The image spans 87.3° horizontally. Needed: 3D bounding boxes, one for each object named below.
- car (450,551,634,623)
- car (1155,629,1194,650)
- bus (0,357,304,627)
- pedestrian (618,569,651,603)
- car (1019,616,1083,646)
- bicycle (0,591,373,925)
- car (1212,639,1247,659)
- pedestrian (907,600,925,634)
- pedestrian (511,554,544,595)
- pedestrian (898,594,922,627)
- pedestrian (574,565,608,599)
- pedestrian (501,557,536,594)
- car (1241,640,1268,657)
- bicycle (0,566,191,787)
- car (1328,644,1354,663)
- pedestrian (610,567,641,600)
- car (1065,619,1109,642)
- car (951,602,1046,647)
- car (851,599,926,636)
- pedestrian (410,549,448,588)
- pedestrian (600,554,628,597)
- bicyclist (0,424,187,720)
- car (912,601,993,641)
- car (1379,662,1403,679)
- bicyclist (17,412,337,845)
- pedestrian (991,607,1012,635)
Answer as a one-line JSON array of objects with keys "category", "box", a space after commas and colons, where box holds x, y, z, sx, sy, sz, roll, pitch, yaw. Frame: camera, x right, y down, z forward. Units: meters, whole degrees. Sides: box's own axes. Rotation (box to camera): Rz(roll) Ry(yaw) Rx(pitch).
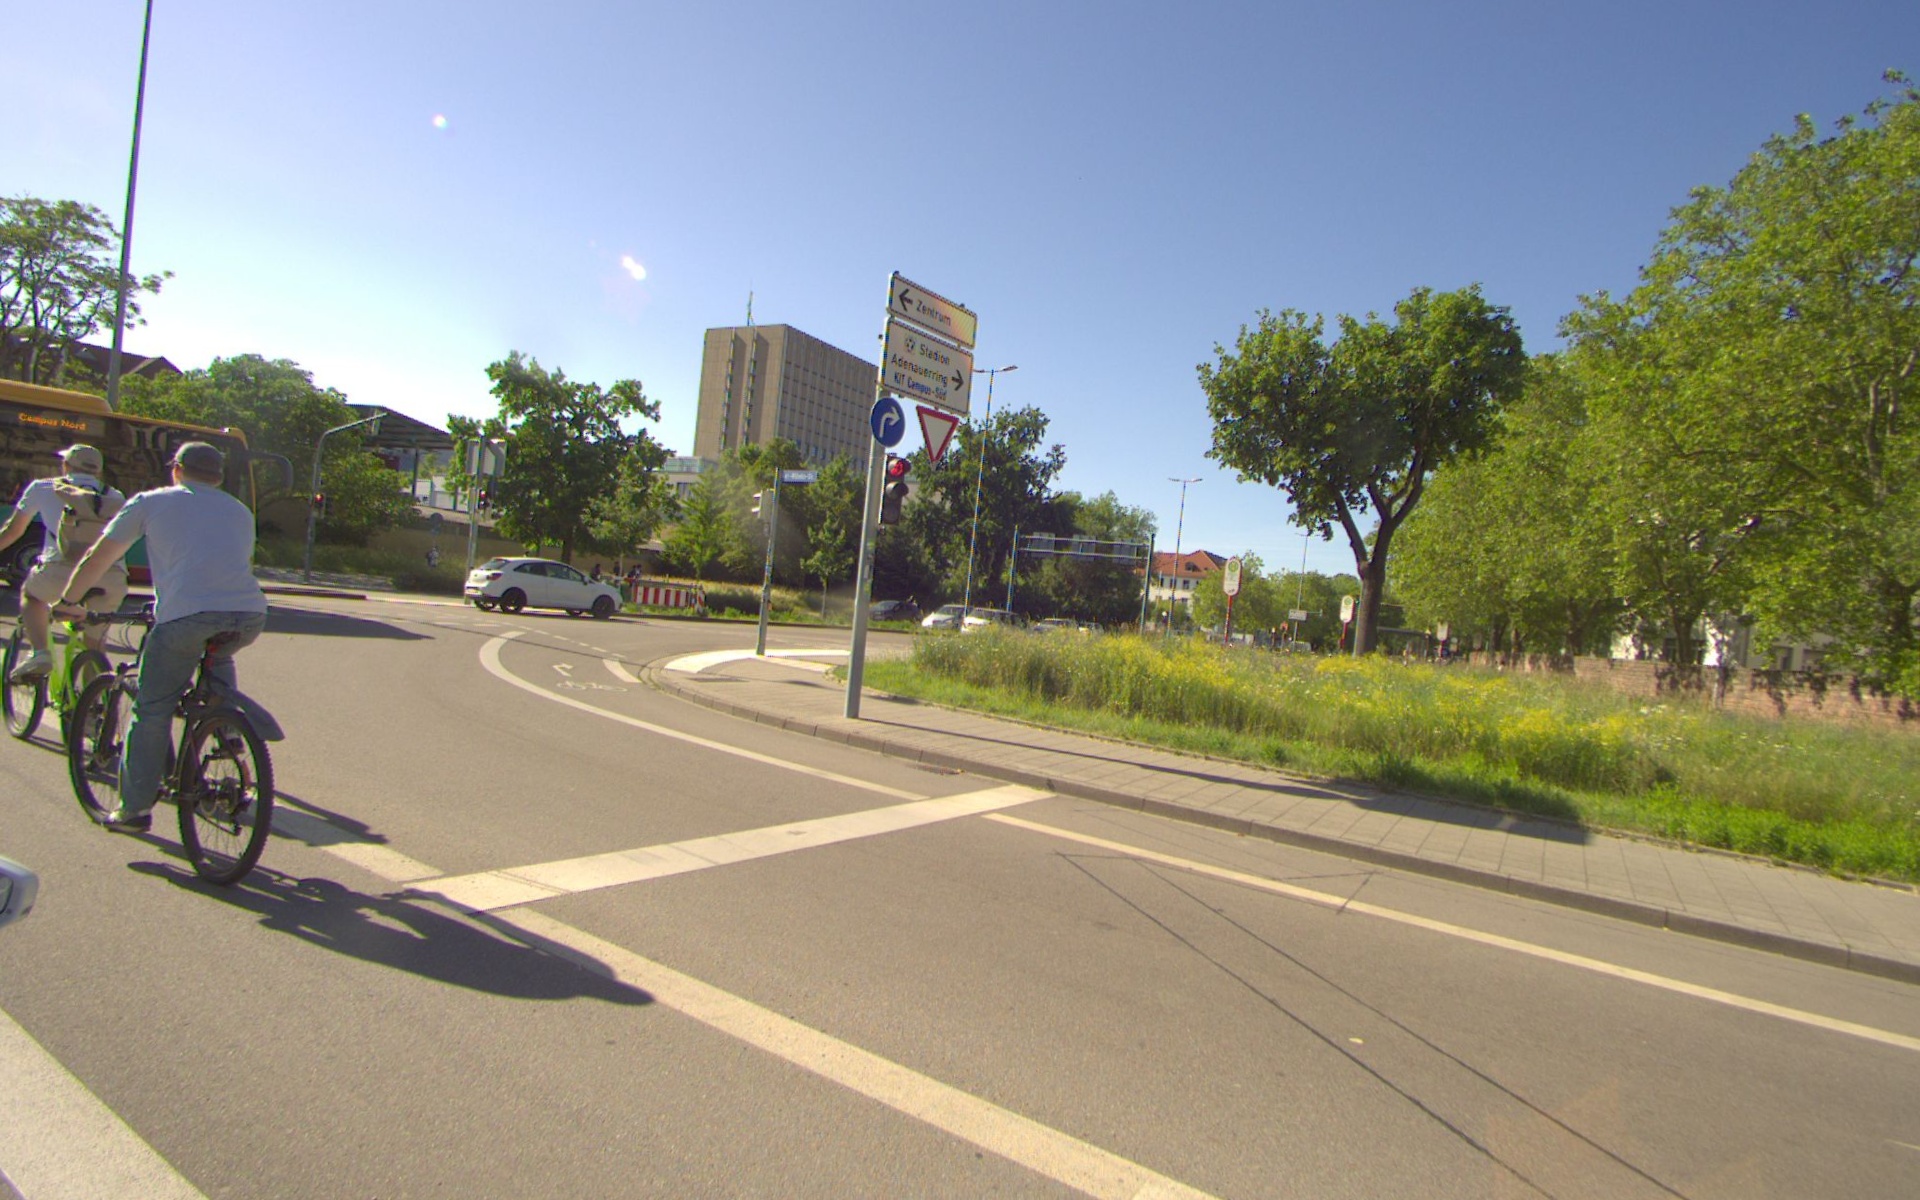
[{"category": "car", "box": [-10.788, -0.297, 26.177, 1.734, 1.390, 3.983, 7, 0, 40]}, {"category": "car", "box": [20.402, 3.797, 95.721, 1.968, 1.625, 4.506, 7, 0, 34]}, {"category": "bus", "box": [-16.714, -2.017, 13.774, 3.208, 3.614, 12.389, 7, 0, 45]}, {"category": "pedestrian", "box": [-16.683, -0.710, 51.516, 0.975, 1.540, 1.129, 7, 1, 35]}, {"category": "car", "box": [6.305, 2.128, 68.914, 1.909, 1.613, 4.860, 7, 0, 38]}, {"category": "bicycle", "box": [-3.563, 0.597, 4.486, 1.871, 1.064, 0.748, 6, 1, 30]}, {"category": "car", "box": [26.253, 4.780, 97.938, 1.968, 1.625, 4.127, 7, 0, 35]}, {"category": "pedestrian", "box": [-3.017, 1.174, 69.146, 0.633, 2.194, 0.912, 7, 1, 35]}, {"category": "pedestrian", "box": [-20.238, -1.187, 47.060, 0.911, 1.754, 0.963, 7, 1, 37]}, {"category": "pedestrian", "box": [-3.493, 0.733, 69.978, 0.966, 2.106, 1.186, 7, 1, 35]}, {"category": "pedestrian", "box": [-18.393, -0.908, 50.183, 0.927, 1.540, 1.145, 7, 1, 38]}, {"category": "pedestrian", "box": [-20.147, -1.109, 45.898, 0.865, 1.540, 1.074, 7, 1, 36]}, {"category": "car", "box": [33.786, 5.571, 115.464, 1.890, 1.625, 4.076, 7, 0, 31]}, {"category": "bicycle", "box": [-5.460, 0.394, 5.990, 1.813, 1.063, 0.672, 6, -1, 31]}, {"category": "car", "box": [50.094, 7.050, 132.255, 1.968, 2.062, 4.835, 7, 0, 34]}, {"category": "pedestrian", "box": [-17.275, -0.854, 51.967, 0.865, 1.540, 1.144, 7, 1, 35]}, {"category": "car", "box": [10.026, 2.437, 79.462, 1.782, 1.509, 3.957, 4, -2, 33]}, {"category": "car", "box": [1.586, 1.011, 40.285, 1.864, 1.419, 3.845, 3, -4, 37]}, {"category": "car", "box": [-3.802, 0.965, 54.236, 1.807, 1.590, 3.988, 7, 0, 35]}, {"category": "pedestrian", "box": [-22.746, -1.351, 43.082, 0.917, 1.540, 1.083, 7, 1, 41]}, {"category": "pedestrian", "box": [-18.019, -1.246, 52.326, 0.800, 2.106, 0.896, 7, 1, 35]}, {"category": "bicyclist", "box": [-5.327, -0.166, 5.965, 1.063, 1.601, 0.675, 7, -1, 31]}, {"category": "car", "box": [-0.323, 1.087, 50.797, 1.882, 1.625, 4.124, 7, 0, 37]}, {"category": "car", "box": [44.802, 7.280, 104.557, 1.712, 1.535, 3.994, 7, 0, 29]}, {"category": "bicyclist", "box": [-3.456, 0.098, 4.458, 0.851, 1.695, 0.741, 7, 1, 30]}, {"category": "pedestrian", "box": [3.382, 1.746, 81.745, 1.065, 2.106, 1.231, 7, 1, 35]}]
